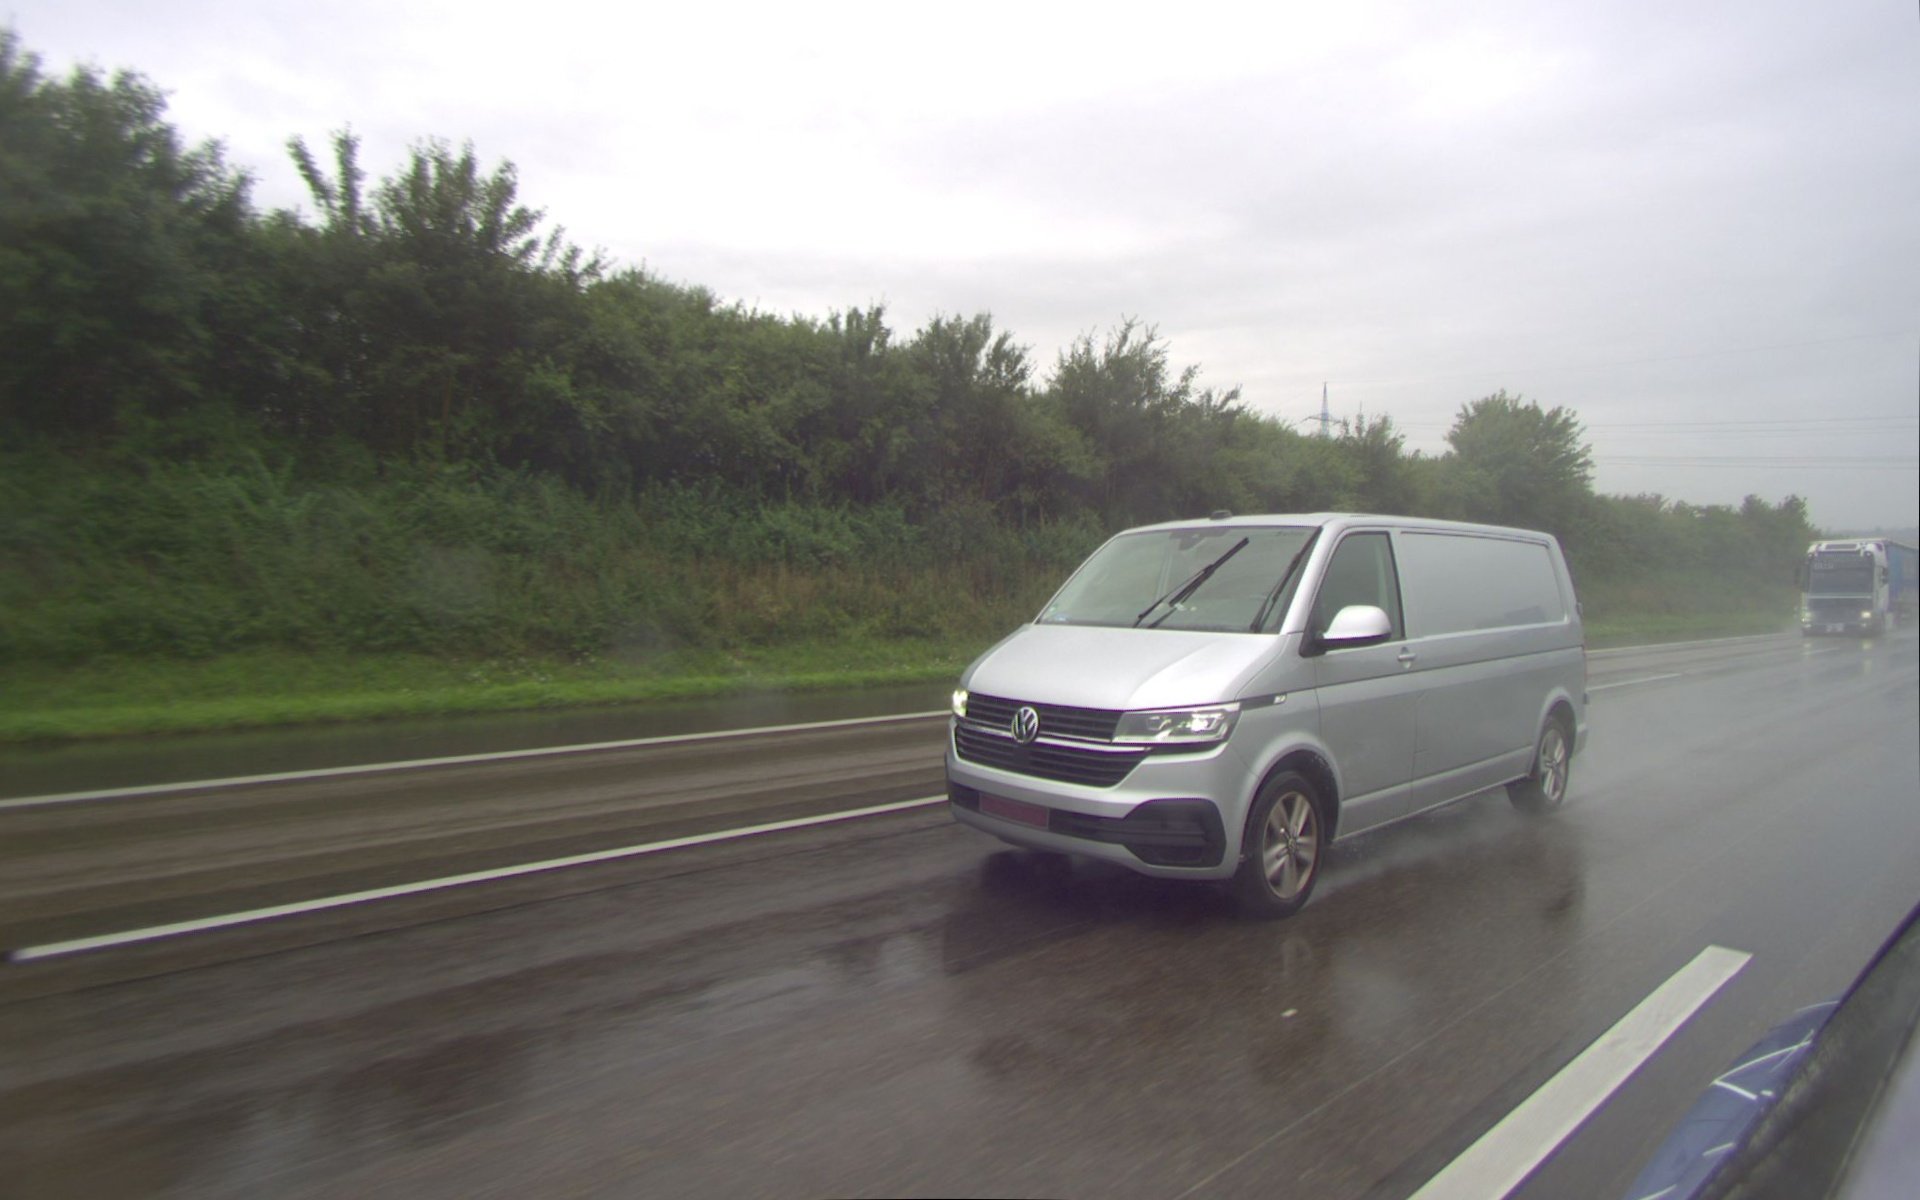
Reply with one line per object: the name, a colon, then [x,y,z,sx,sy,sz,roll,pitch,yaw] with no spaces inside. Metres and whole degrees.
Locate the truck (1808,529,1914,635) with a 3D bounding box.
truck: [37.489,-0.742,42.072,5.146,4.139,2.617,0,1,-41]

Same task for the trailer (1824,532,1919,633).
trailer: [43.146,-0.792,46.944,13.549,4.139,2.617,0,1,-41]

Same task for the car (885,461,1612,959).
car: [2.084,0.388,6.205,4.921,1.907,1.891,0,1,-41]
